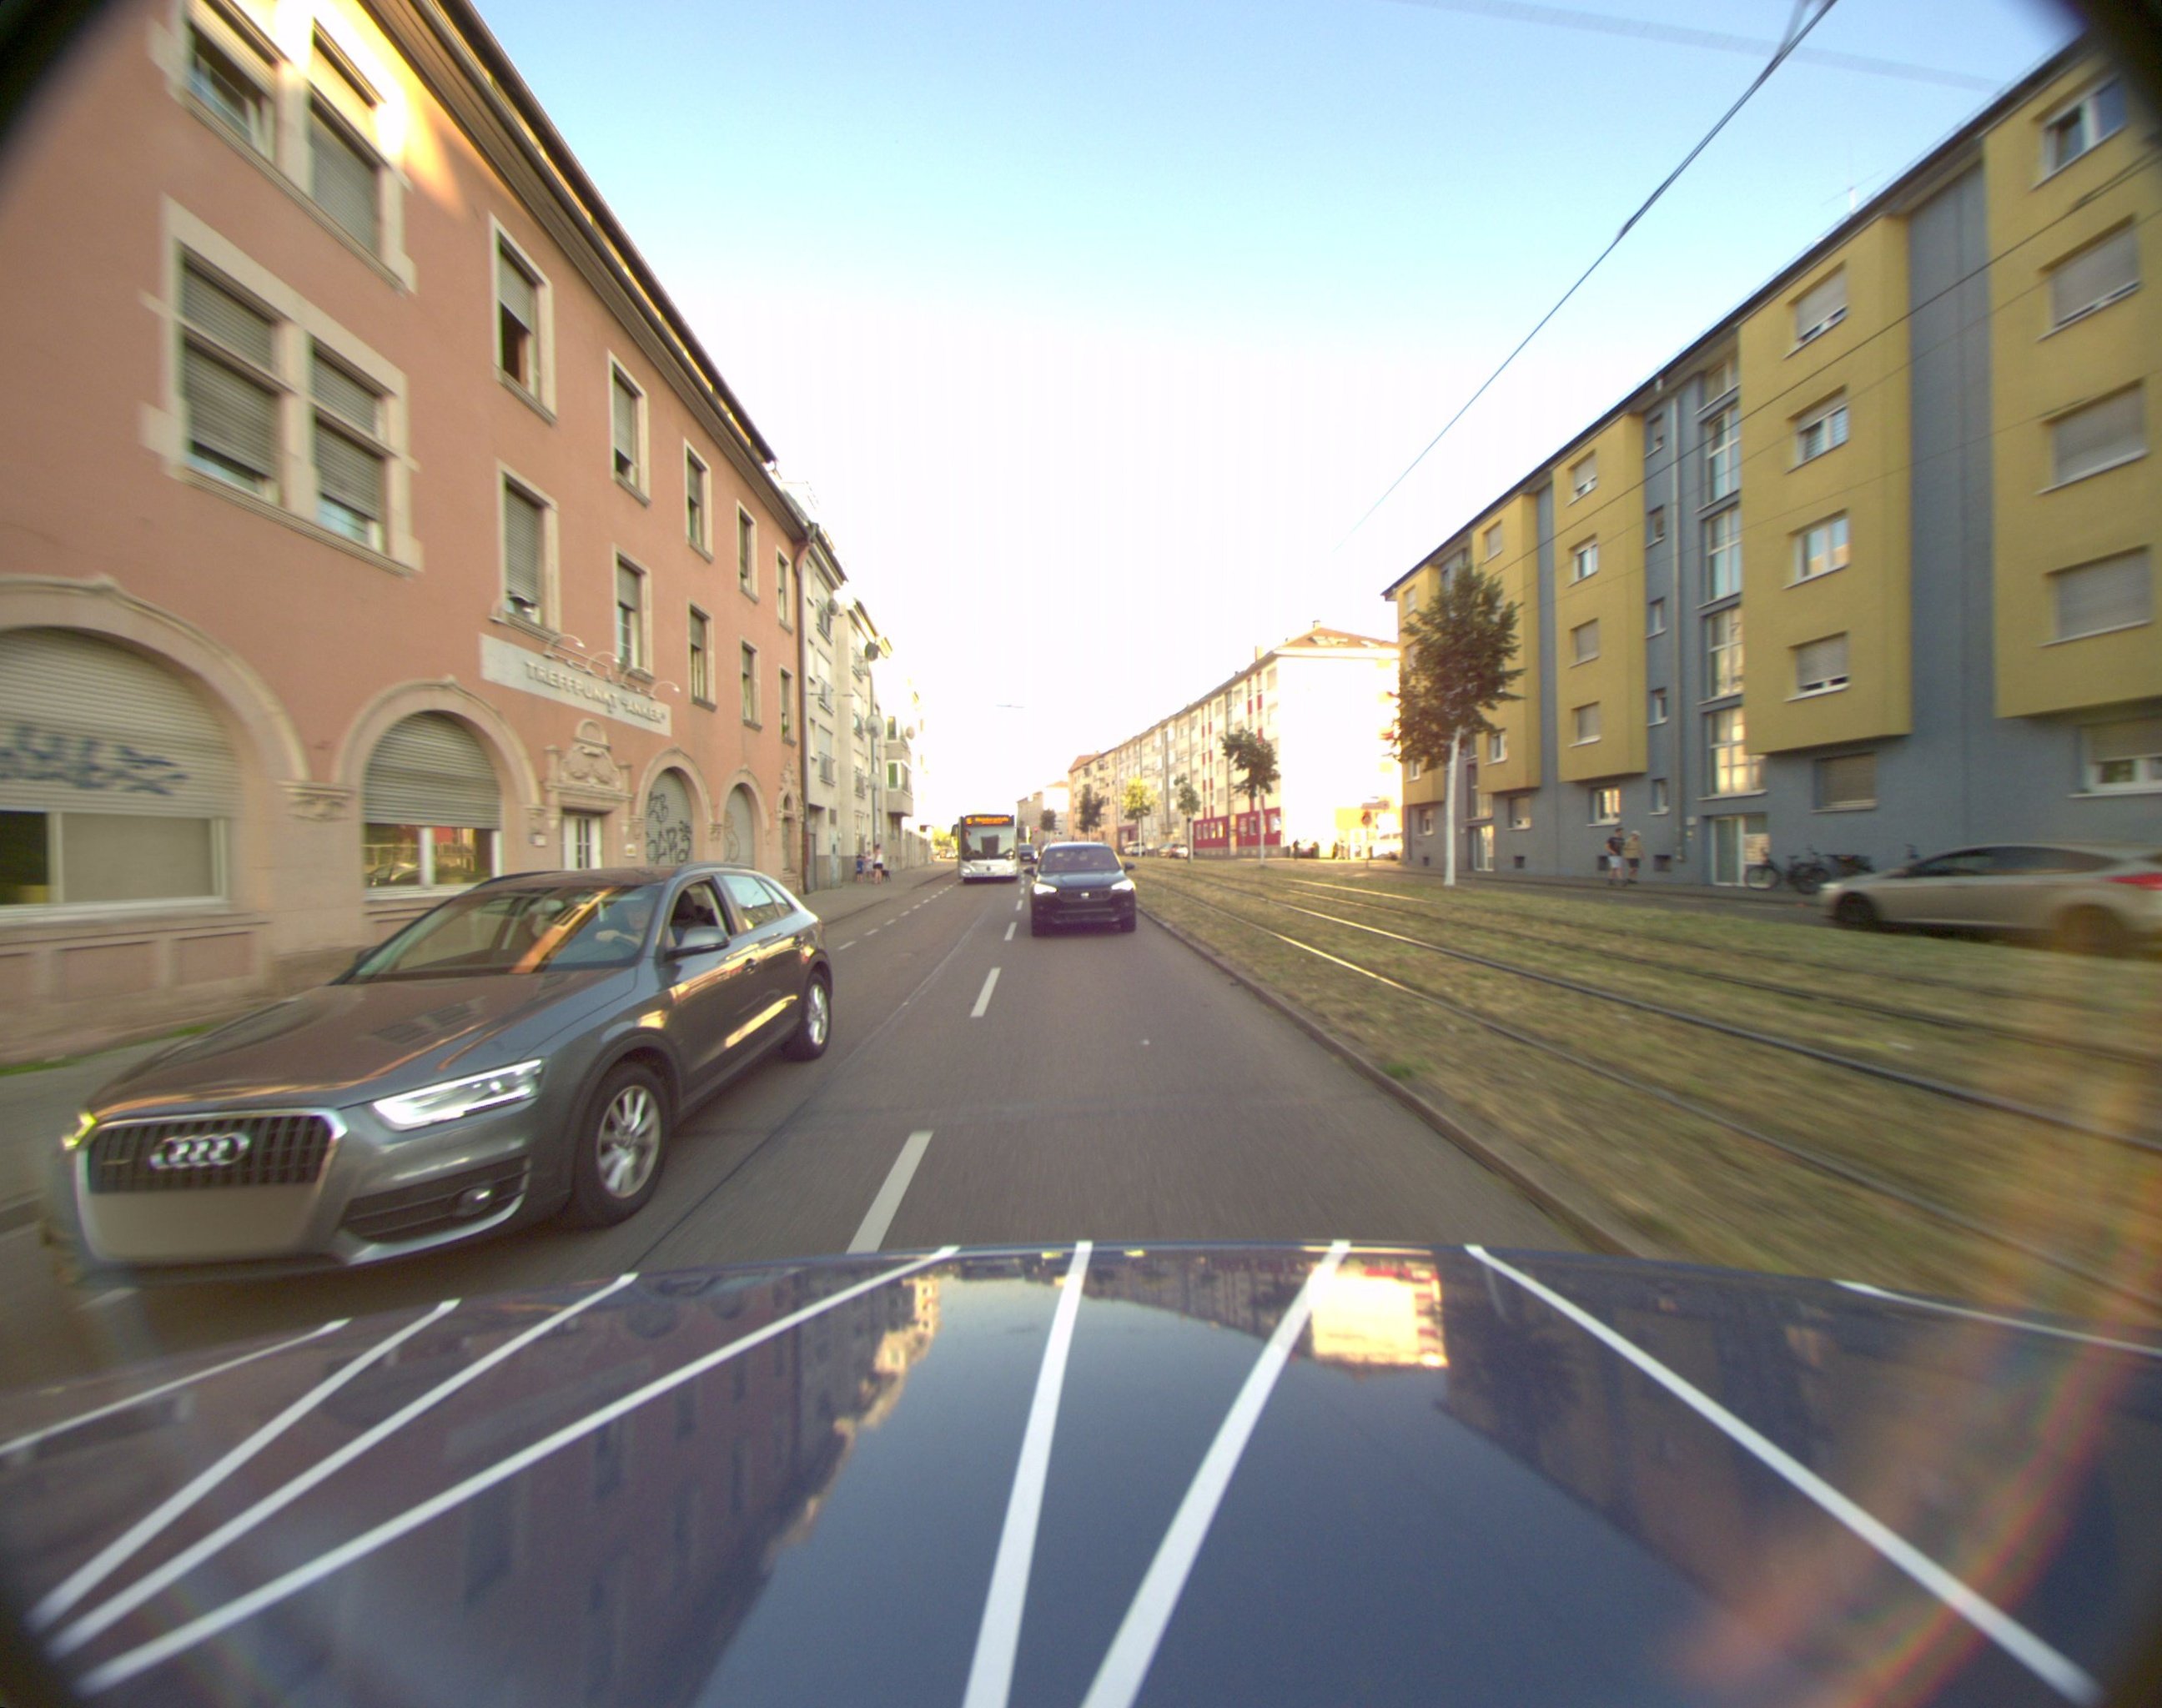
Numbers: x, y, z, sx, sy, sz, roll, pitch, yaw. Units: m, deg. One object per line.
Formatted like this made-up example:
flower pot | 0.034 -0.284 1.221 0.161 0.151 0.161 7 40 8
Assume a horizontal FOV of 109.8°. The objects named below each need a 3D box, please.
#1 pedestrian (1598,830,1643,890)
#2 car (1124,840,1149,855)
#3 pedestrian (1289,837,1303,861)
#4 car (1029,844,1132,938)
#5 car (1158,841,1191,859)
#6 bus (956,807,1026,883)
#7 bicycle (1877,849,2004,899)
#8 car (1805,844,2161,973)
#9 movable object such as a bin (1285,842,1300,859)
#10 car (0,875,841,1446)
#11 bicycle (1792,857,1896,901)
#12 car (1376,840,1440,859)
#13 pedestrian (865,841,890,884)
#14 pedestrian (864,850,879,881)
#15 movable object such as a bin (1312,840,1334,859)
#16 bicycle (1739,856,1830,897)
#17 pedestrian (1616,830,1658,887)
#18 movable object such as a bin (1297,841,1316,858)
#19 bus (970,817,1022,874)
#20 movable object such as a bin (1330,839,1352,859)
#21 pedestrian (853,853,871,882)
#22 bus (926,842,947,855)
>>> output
pedestrian | 16.438 0.173 23.174 0.594 1.763 0.885 -6 1 -4
car | 6.885 -0.781 94.413 1.873 1.819 4.416 -1 1 -12
pedestrian | 15.586 -0.380 55.090 0.615 1.680 0.791 -2 1 -9
car | -0.021 0.650 15.903 1.788 1.615 4.215 -3 1 0
car | 8.177 -0.352 67.096 1.799 1.461 4.791 1 2 -7
bus | -4.169 -0.424 36.383 2.733 3.059 10.593 -2 1 -5
bicycle | 17.886 0.388 15.889 0.428 0.954 1.911 -1 1 -2
car | 13.133 0.617 10.572 1.703 1.451 4.312 0 1 -6
movable object such as a bin | 16.213 -0.273 58.343 0.869 1.219 0.805 -2 2 -8
car | -2.897 1.005 4.372 1.771 1.578 4.067 -2 0 -2
bicycle | 17.835 0.557 17.830 0.428 0.920 1.911 -5 1 -2
car | 23.380 -0.328 54.362 3.874 1.286 1.700 -2 1 -7
pedestrian | -8.526 0.332 31.886 0.832 1.761 0.995 -1 1 -4
pedestrian | -9.236 0.515 33.525 0.516 1.337 0.608 0 2 -8
movable object such as a bin | 18.129 -0.338 56.917 1.220 1.408 1.137 -2 2 -8
bicycle | 17.624 0.543 19.092 0.428 0.920 1.911 -5 1 -2
pedestrian | 17.154 0.142 23.447 0.618 1.685 0.706 -6 1 -4
movable object such as a bin | 17.363 -0.326 58.497 1.162 1.279 0.805 -2 2 -8
bus | -5.146 -0.524 46.955 2.713 3.059 10.593 -2 1 -5
movable object such as a bin | 19.534 -0.382 57.111 1.220 1.408 1.107 -2 2 -8
pedestrian | -9.312 0.565 32.330 0.589 1.244 0.584 -1 1 -4
bus | -33.255 -1.215 173.890 3.879 2.836 13.809 -3 1 -14
